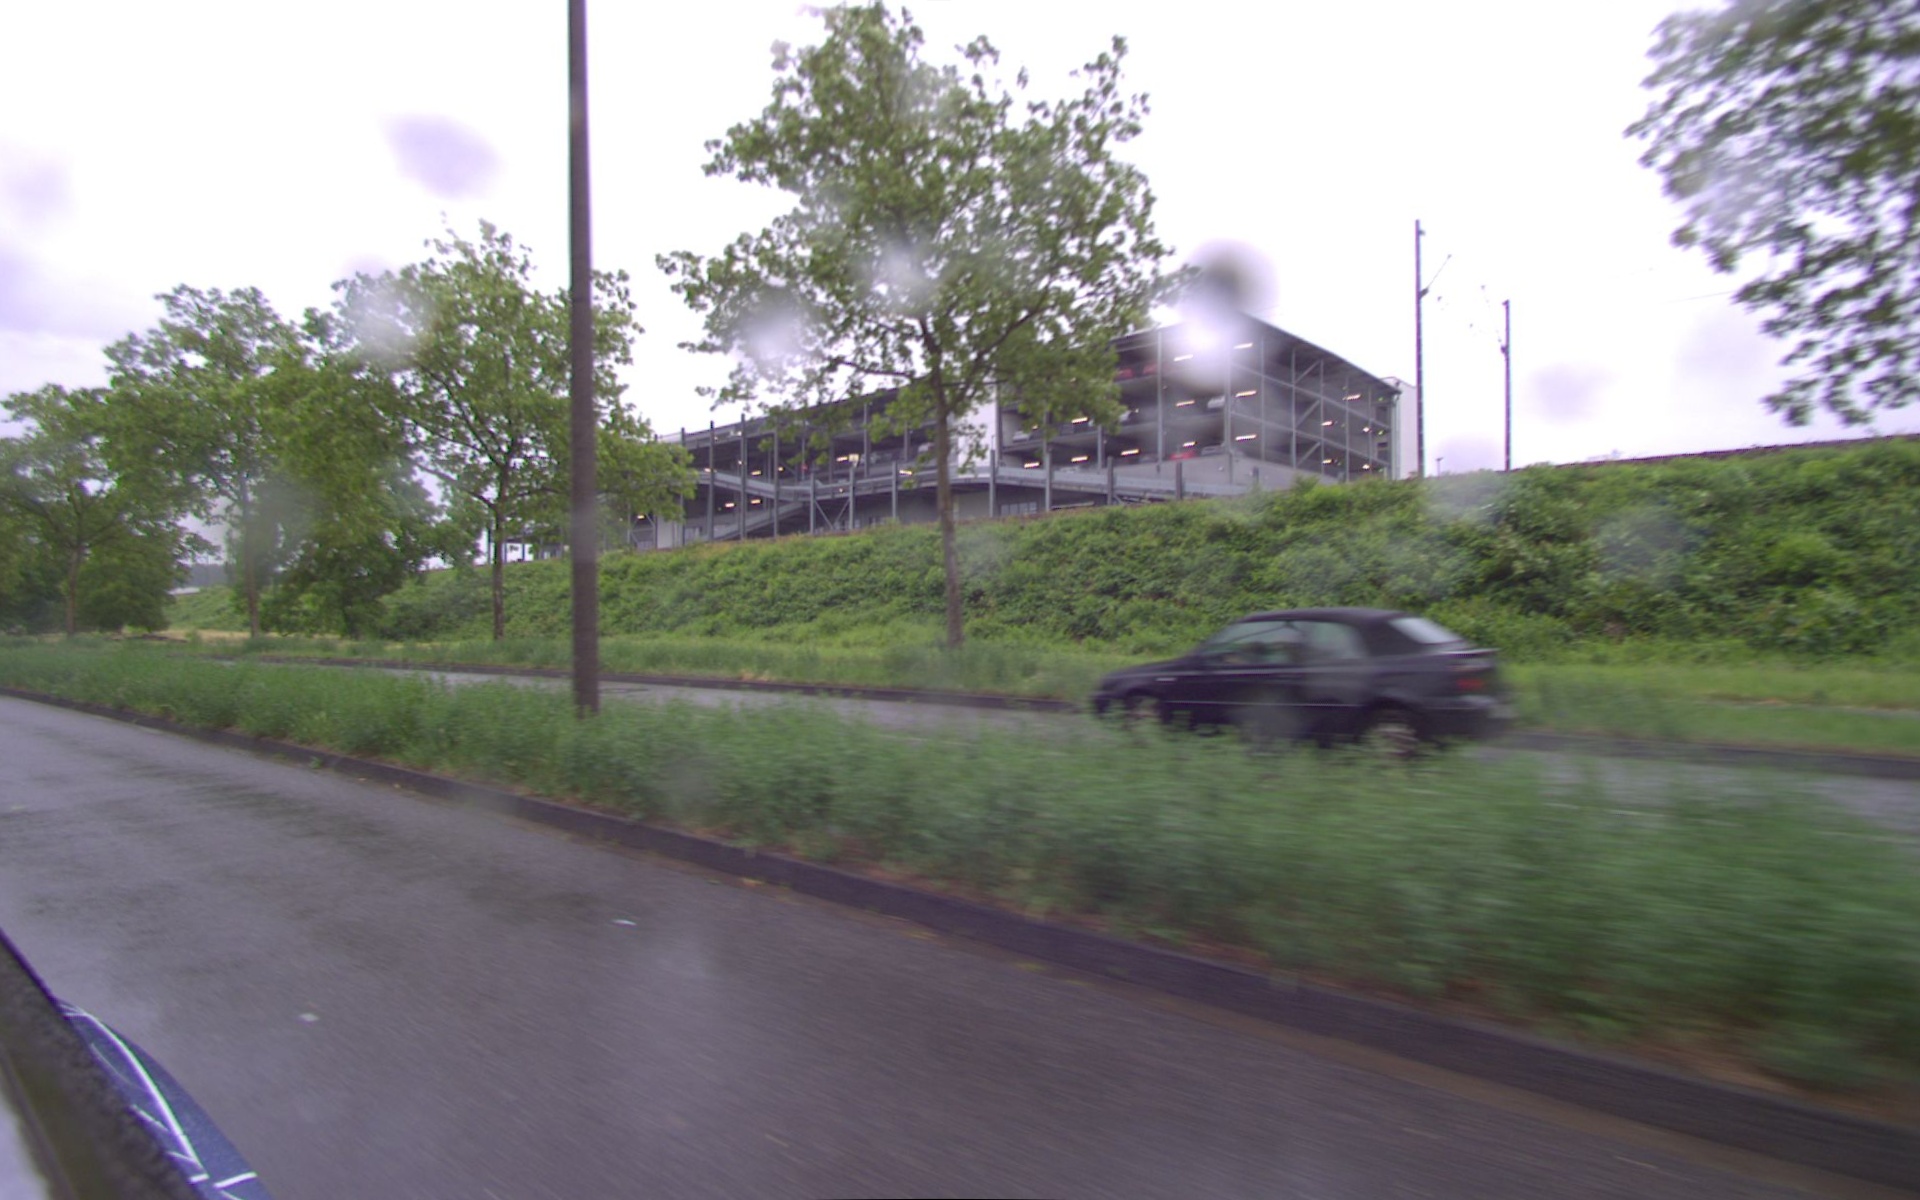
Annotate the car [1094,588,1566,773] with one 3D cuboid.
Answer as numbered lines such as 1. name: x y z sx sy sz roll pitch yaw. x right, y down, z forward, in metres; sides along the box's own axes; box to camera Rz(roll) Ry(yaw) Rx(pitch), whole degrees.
1. car: 3.436 0.656 9.845 3.997 1.436 1.614 -1 0 41
